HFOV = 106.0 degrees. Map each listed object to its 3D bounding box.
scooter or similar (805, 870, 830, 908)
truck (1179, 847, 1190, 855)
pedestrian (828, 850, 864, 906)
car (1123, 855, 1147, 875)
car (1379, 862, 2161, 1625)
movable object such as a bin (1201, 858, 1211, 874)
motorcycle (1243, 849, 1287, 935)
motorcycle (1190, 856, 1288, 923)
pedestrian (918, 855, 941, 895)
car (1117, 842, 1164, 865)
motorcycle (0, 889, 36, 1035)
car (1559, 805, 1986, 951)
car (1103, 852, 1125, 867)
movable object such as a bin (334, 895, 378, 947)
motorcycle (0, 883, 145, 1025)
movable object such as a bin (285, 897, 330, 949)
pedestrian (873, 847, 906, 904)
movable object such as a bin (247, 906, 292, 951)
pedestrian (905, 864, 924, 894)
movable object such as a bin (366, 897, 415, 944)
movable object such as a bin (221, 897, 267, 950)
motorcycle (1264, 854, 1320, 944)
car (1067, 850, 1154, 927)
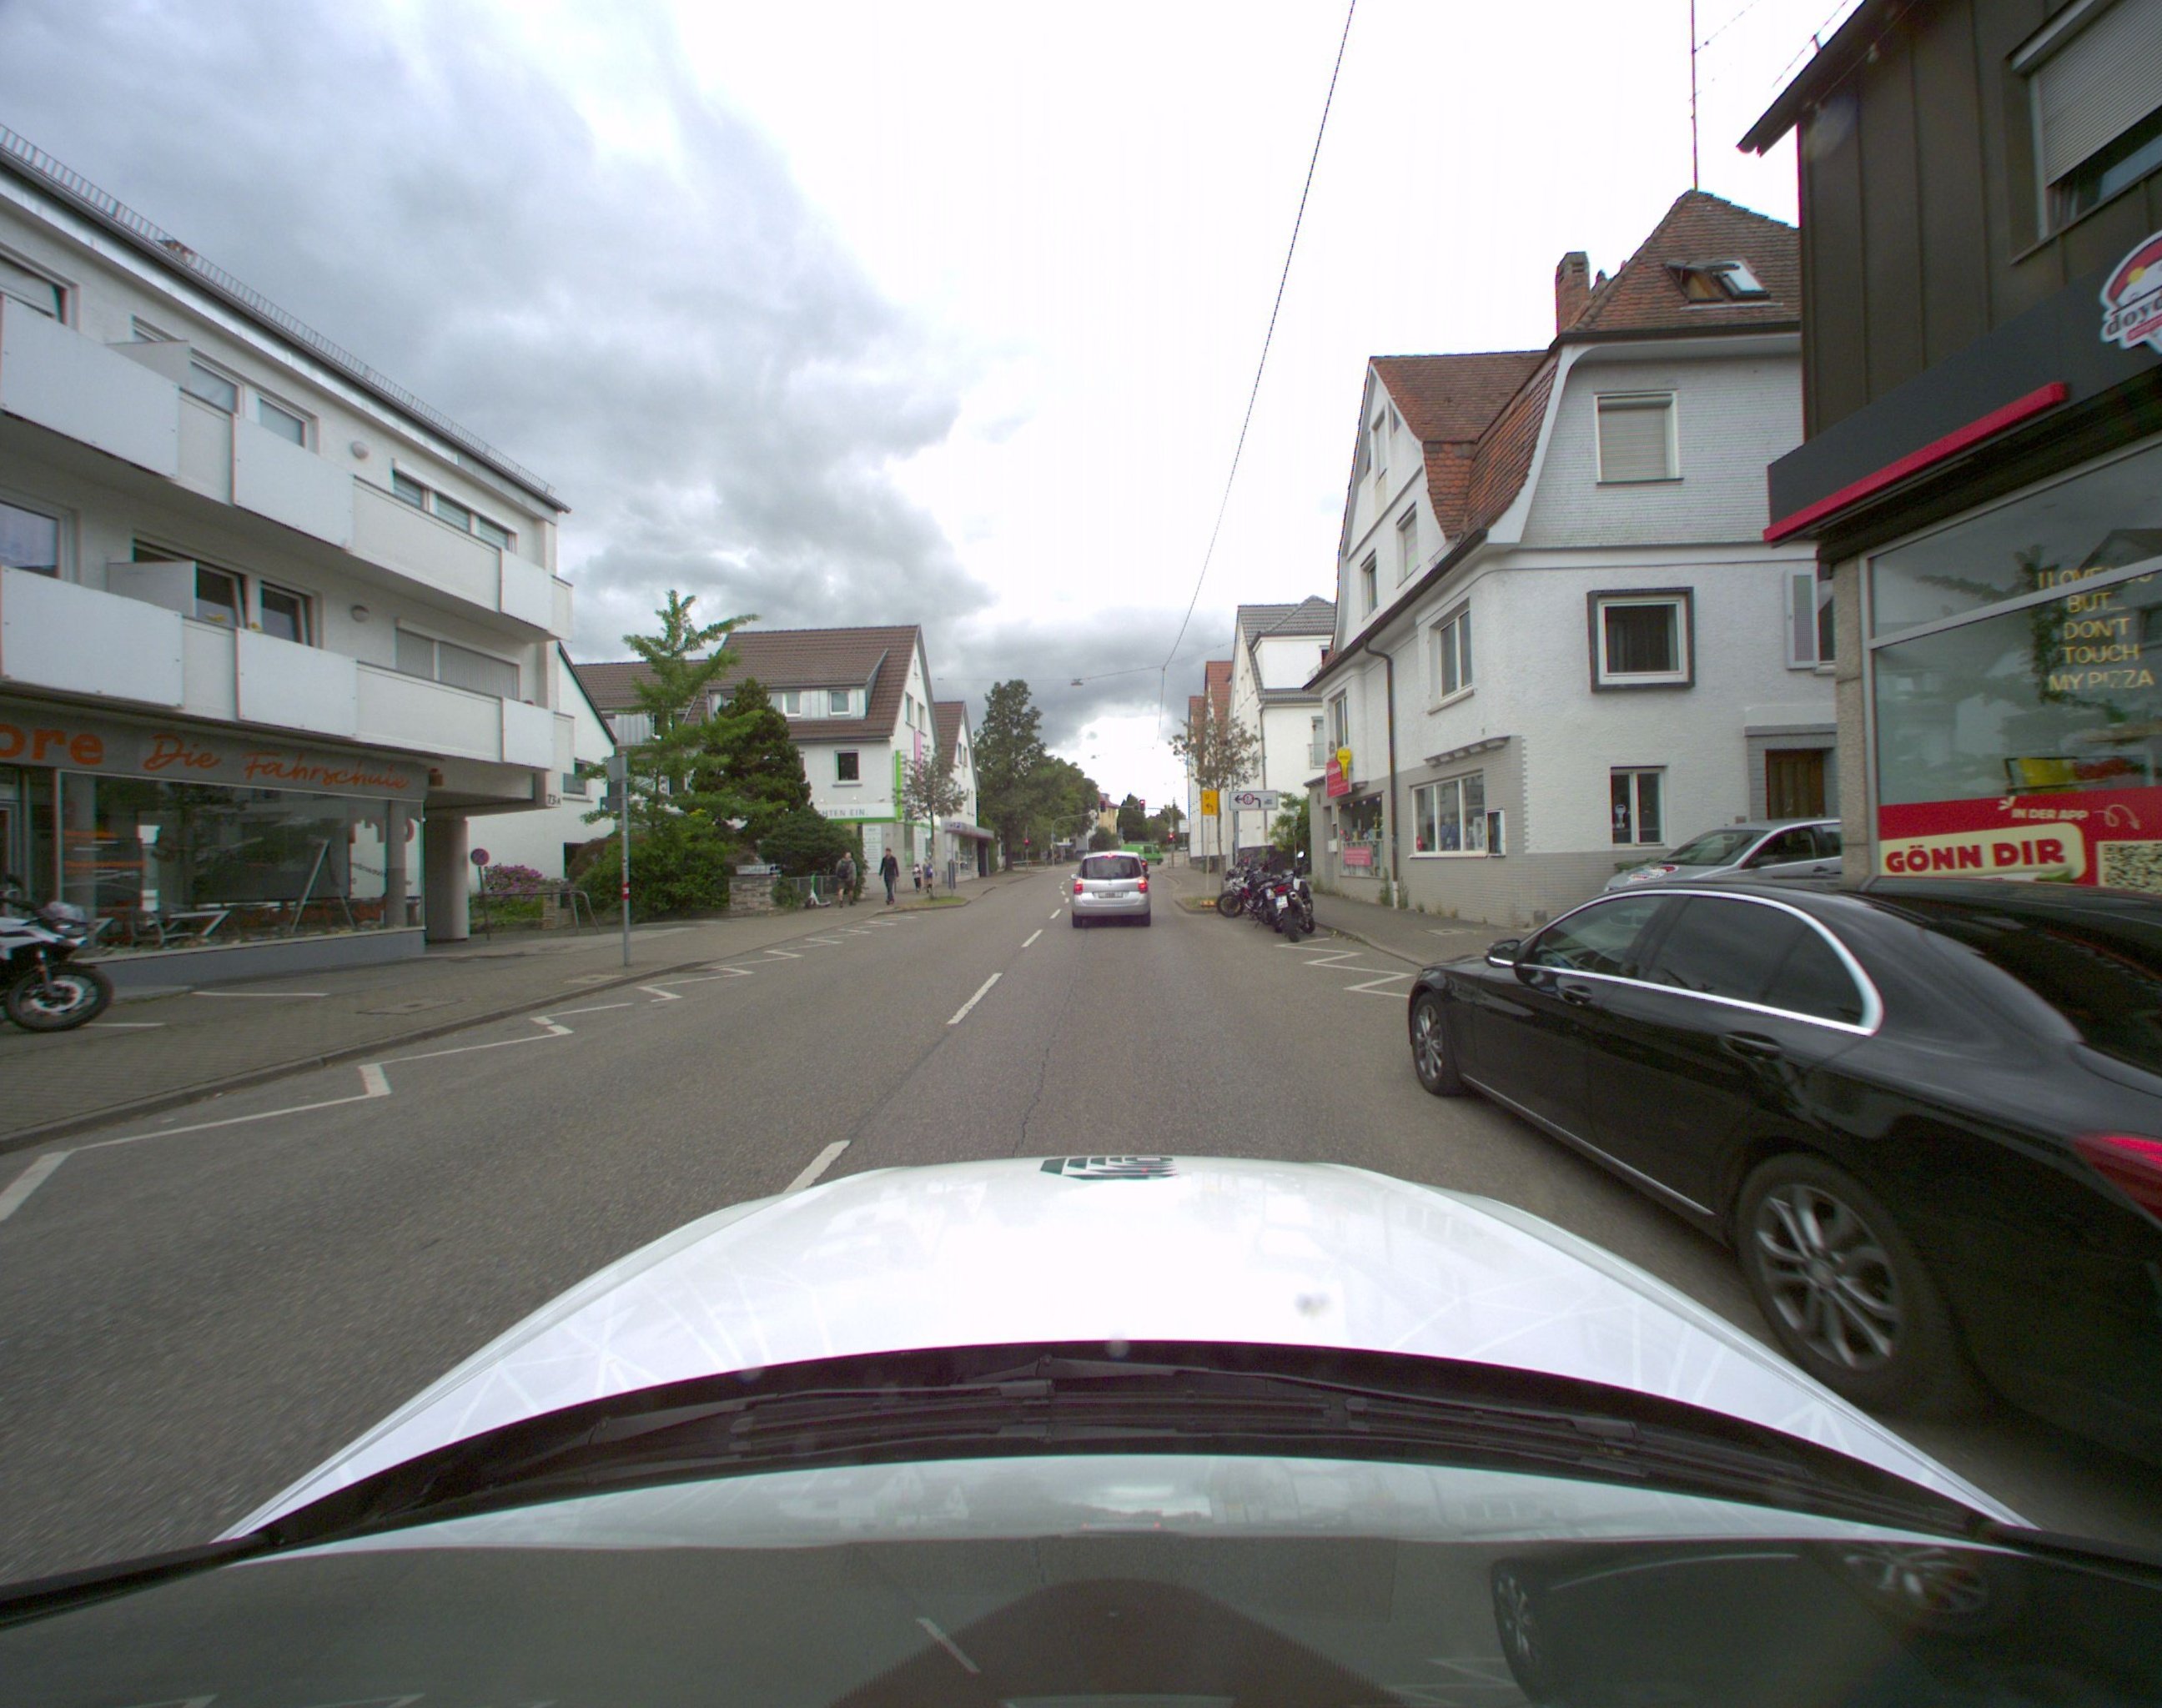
[{"bbox_3d":[-8.187,1.074,25.345,0.338,1.112,1.181,0,-1,3],"label":"scooter or similar"},{"bbox_3d":[27.337,-0.667,214.858,2.087,2.014,5.768,-1,-1,13],"label":"truck"},{"bbox_3d":[-7.514,0.759,26.067,0.748,1.743,1.020,1,-1,3],"label":"pedestrian"},{"bbox_3d":[4.126,0.824,62.684,1.747,1.530,3.800,0,-1,3],"label":"car"},{"bbox_3d":[2.997,0.750,3.582,1.818,1.409,4.567,0,0,2],"label":"car"},{"bbox_3d":[7.860,0.754,51.322,0.537,0.941,0.487,-4,-1,4],"label":"movable object such as a bin"},{"bbox_3d":[3.507,0.684,15.684,0.667,1.524,2.604,-1,-1,9],"label":"motorcycle"},{"bbox_3d":[3.471,0.750,18.089,0.779,1.381,2.219,0,-1,-34],"label":"motorcycle"},{"bbox_3d":[-6.417,0.882,34.479,0.748,1.617,0.793,2,-1,3],"label":"pedestrian"},{"bbox_3d":[6.556,-0.047,88.734,2.040,2.512,5.629,-1,-1,43],"label":"car"},{"bbox_3d":[-10.596,0.929,7.076,2.217,1.265,0.613,1,-1,1],"label":"motorcycle"},{"bbox_3d":[9.268,0.317,11.218,4.182,1.588,1.856,-4,-1,2],"label":"car"},{"bbox_3d":[4.201,0.688,103.573,1.912,1.774,4.015,-5,-1,14],"label":"car"},{"bbox_3d":[-15.304,1.408,17.191,0.486,1.057,0.441,-3,-1,2],"label":"movable object such as a bin"},{"bbox_3d":[-10.559,0.931,7.900,2.217,1.265,0.613,1,-1,1],"label":"motorcycle"},{"bbox_3d":[-16.351,1.452,17.224,0.486,1.057,0.441,-3,-1,2],"label":"movable object such as a bin"},{"bbox_3d":[-6.374,0.707,27.137,0.748,1.849,1.020,2,-1,3],"label":"pedestrian"},{"bbox_3d":[-17.306,1.586,17.371,0.486,0.912,0.441,-3,-1,2],"label":"movable object such as a bin"},{"bbox_3d":[-7.127,1.059,34.869,0.597,1.280,0.655,0,-1,3],"label":"pedestrian"},{"bbox_3d":[-14.595,1.396,17.225,0.597,0.933,0.470,-3,-1,2],"label":"movable object such as a bin"},{"bbox_3d":[-17.886,1.481,17.416,0.486,1.057,0.441,-3,-1,2],"label":"movable object such as a bin"},{"bbox_3d":[3.752,0.735,14.327,0.642,1.440,2.482,-1,-1,21],"label":"motorcycle"},{"bbox_3d":[0.719,0.715,18.396,1.747,1.530,4.003,0,-1,3],"label":"car"}]
